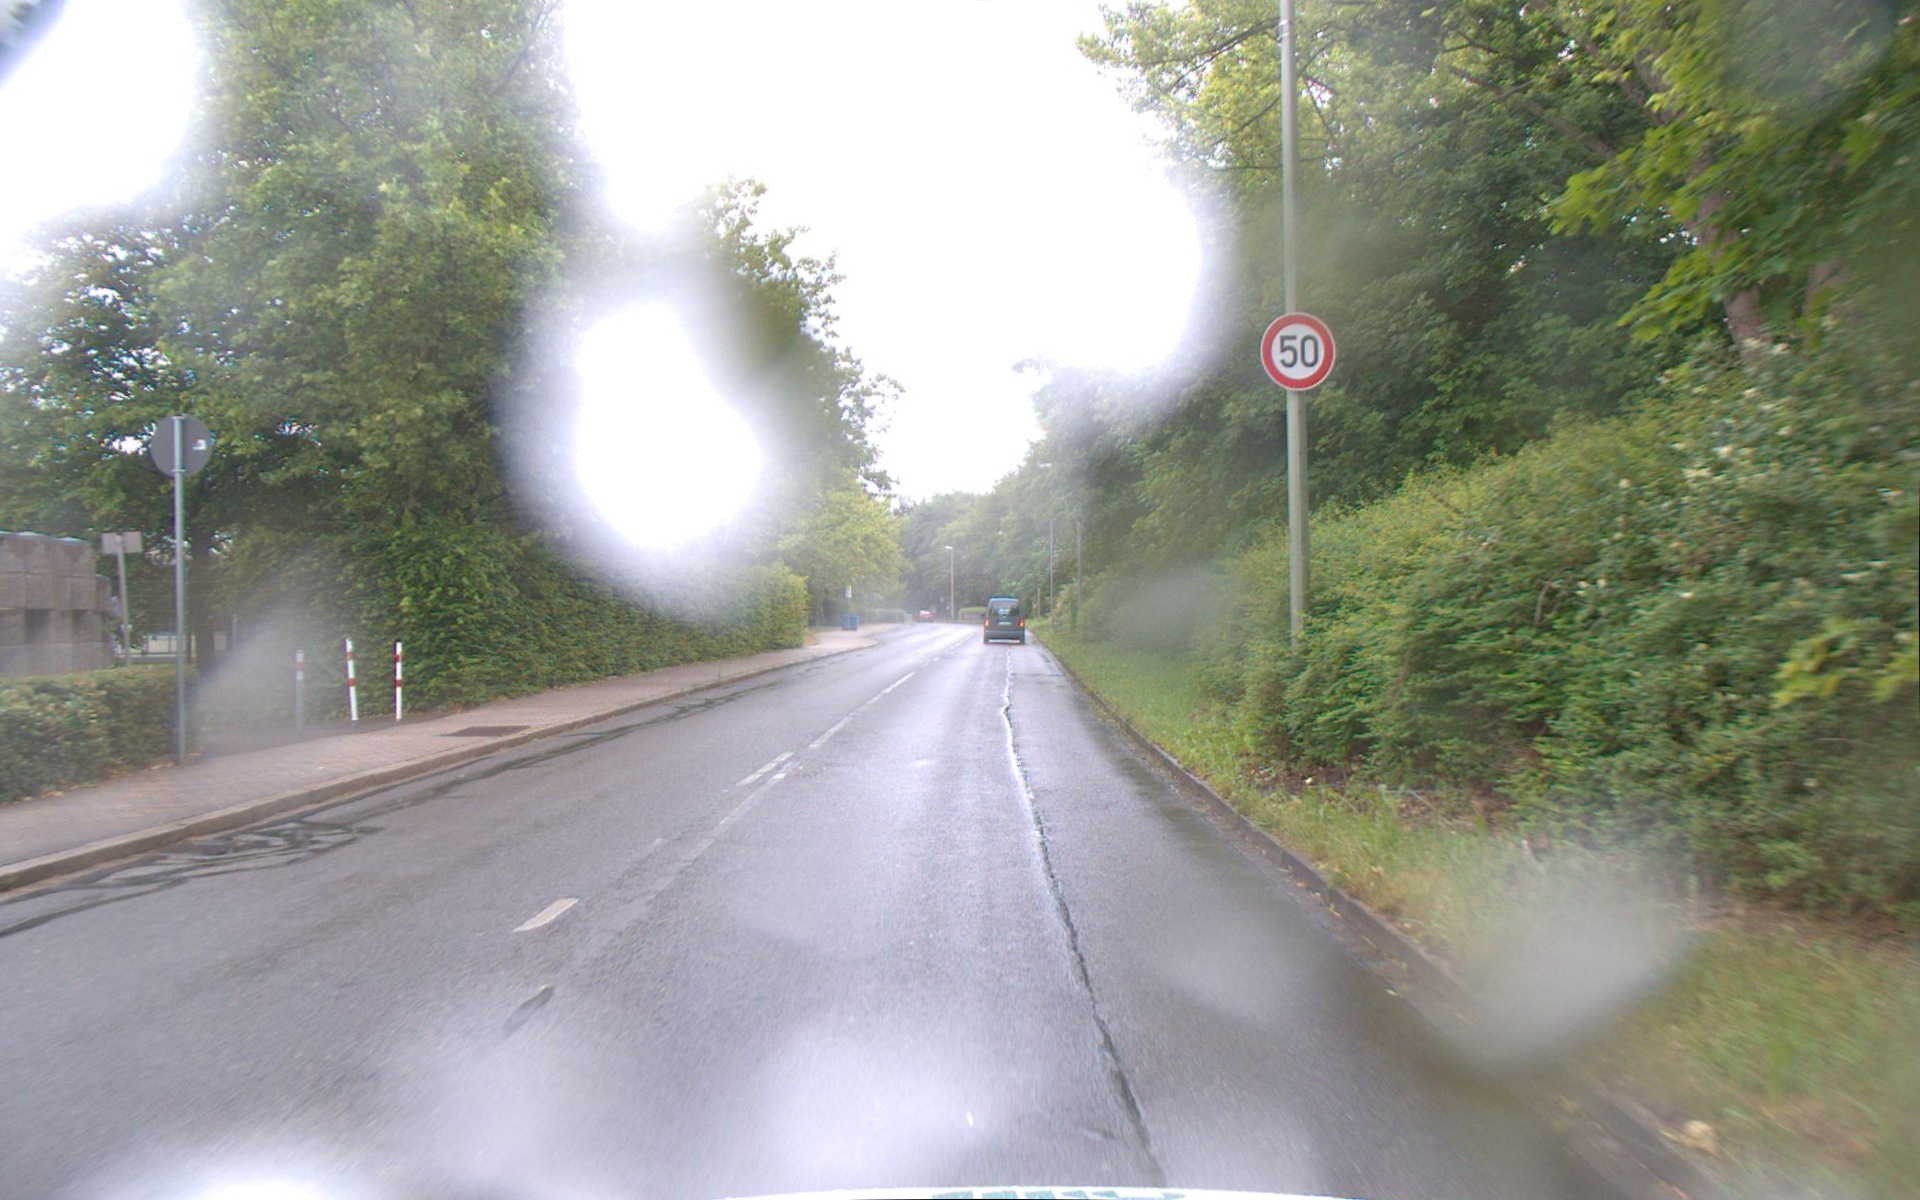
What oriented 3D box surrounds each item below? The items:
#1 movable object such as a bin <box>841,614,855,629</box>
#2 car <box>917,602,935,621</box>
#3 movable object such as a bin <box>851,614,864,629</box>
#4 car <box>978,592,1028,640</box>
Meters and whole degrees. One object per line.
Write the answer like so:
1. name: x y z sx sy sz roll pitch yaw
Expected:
1. movable object such as a bin: -8.045 1.570 118.814 0.659 1.044 0.826 -2 0 -30
2. car: -3.910 1.352 192.215 1.953 2.049 4.000 2 0 0
3. movable object such as a bin: -7.381 1.570 119.249 0.659 1.044 0.826 -2 0 -30
4. car: 1.824 0.637 68.965 1.952 1.825 4.002 2 1 3
